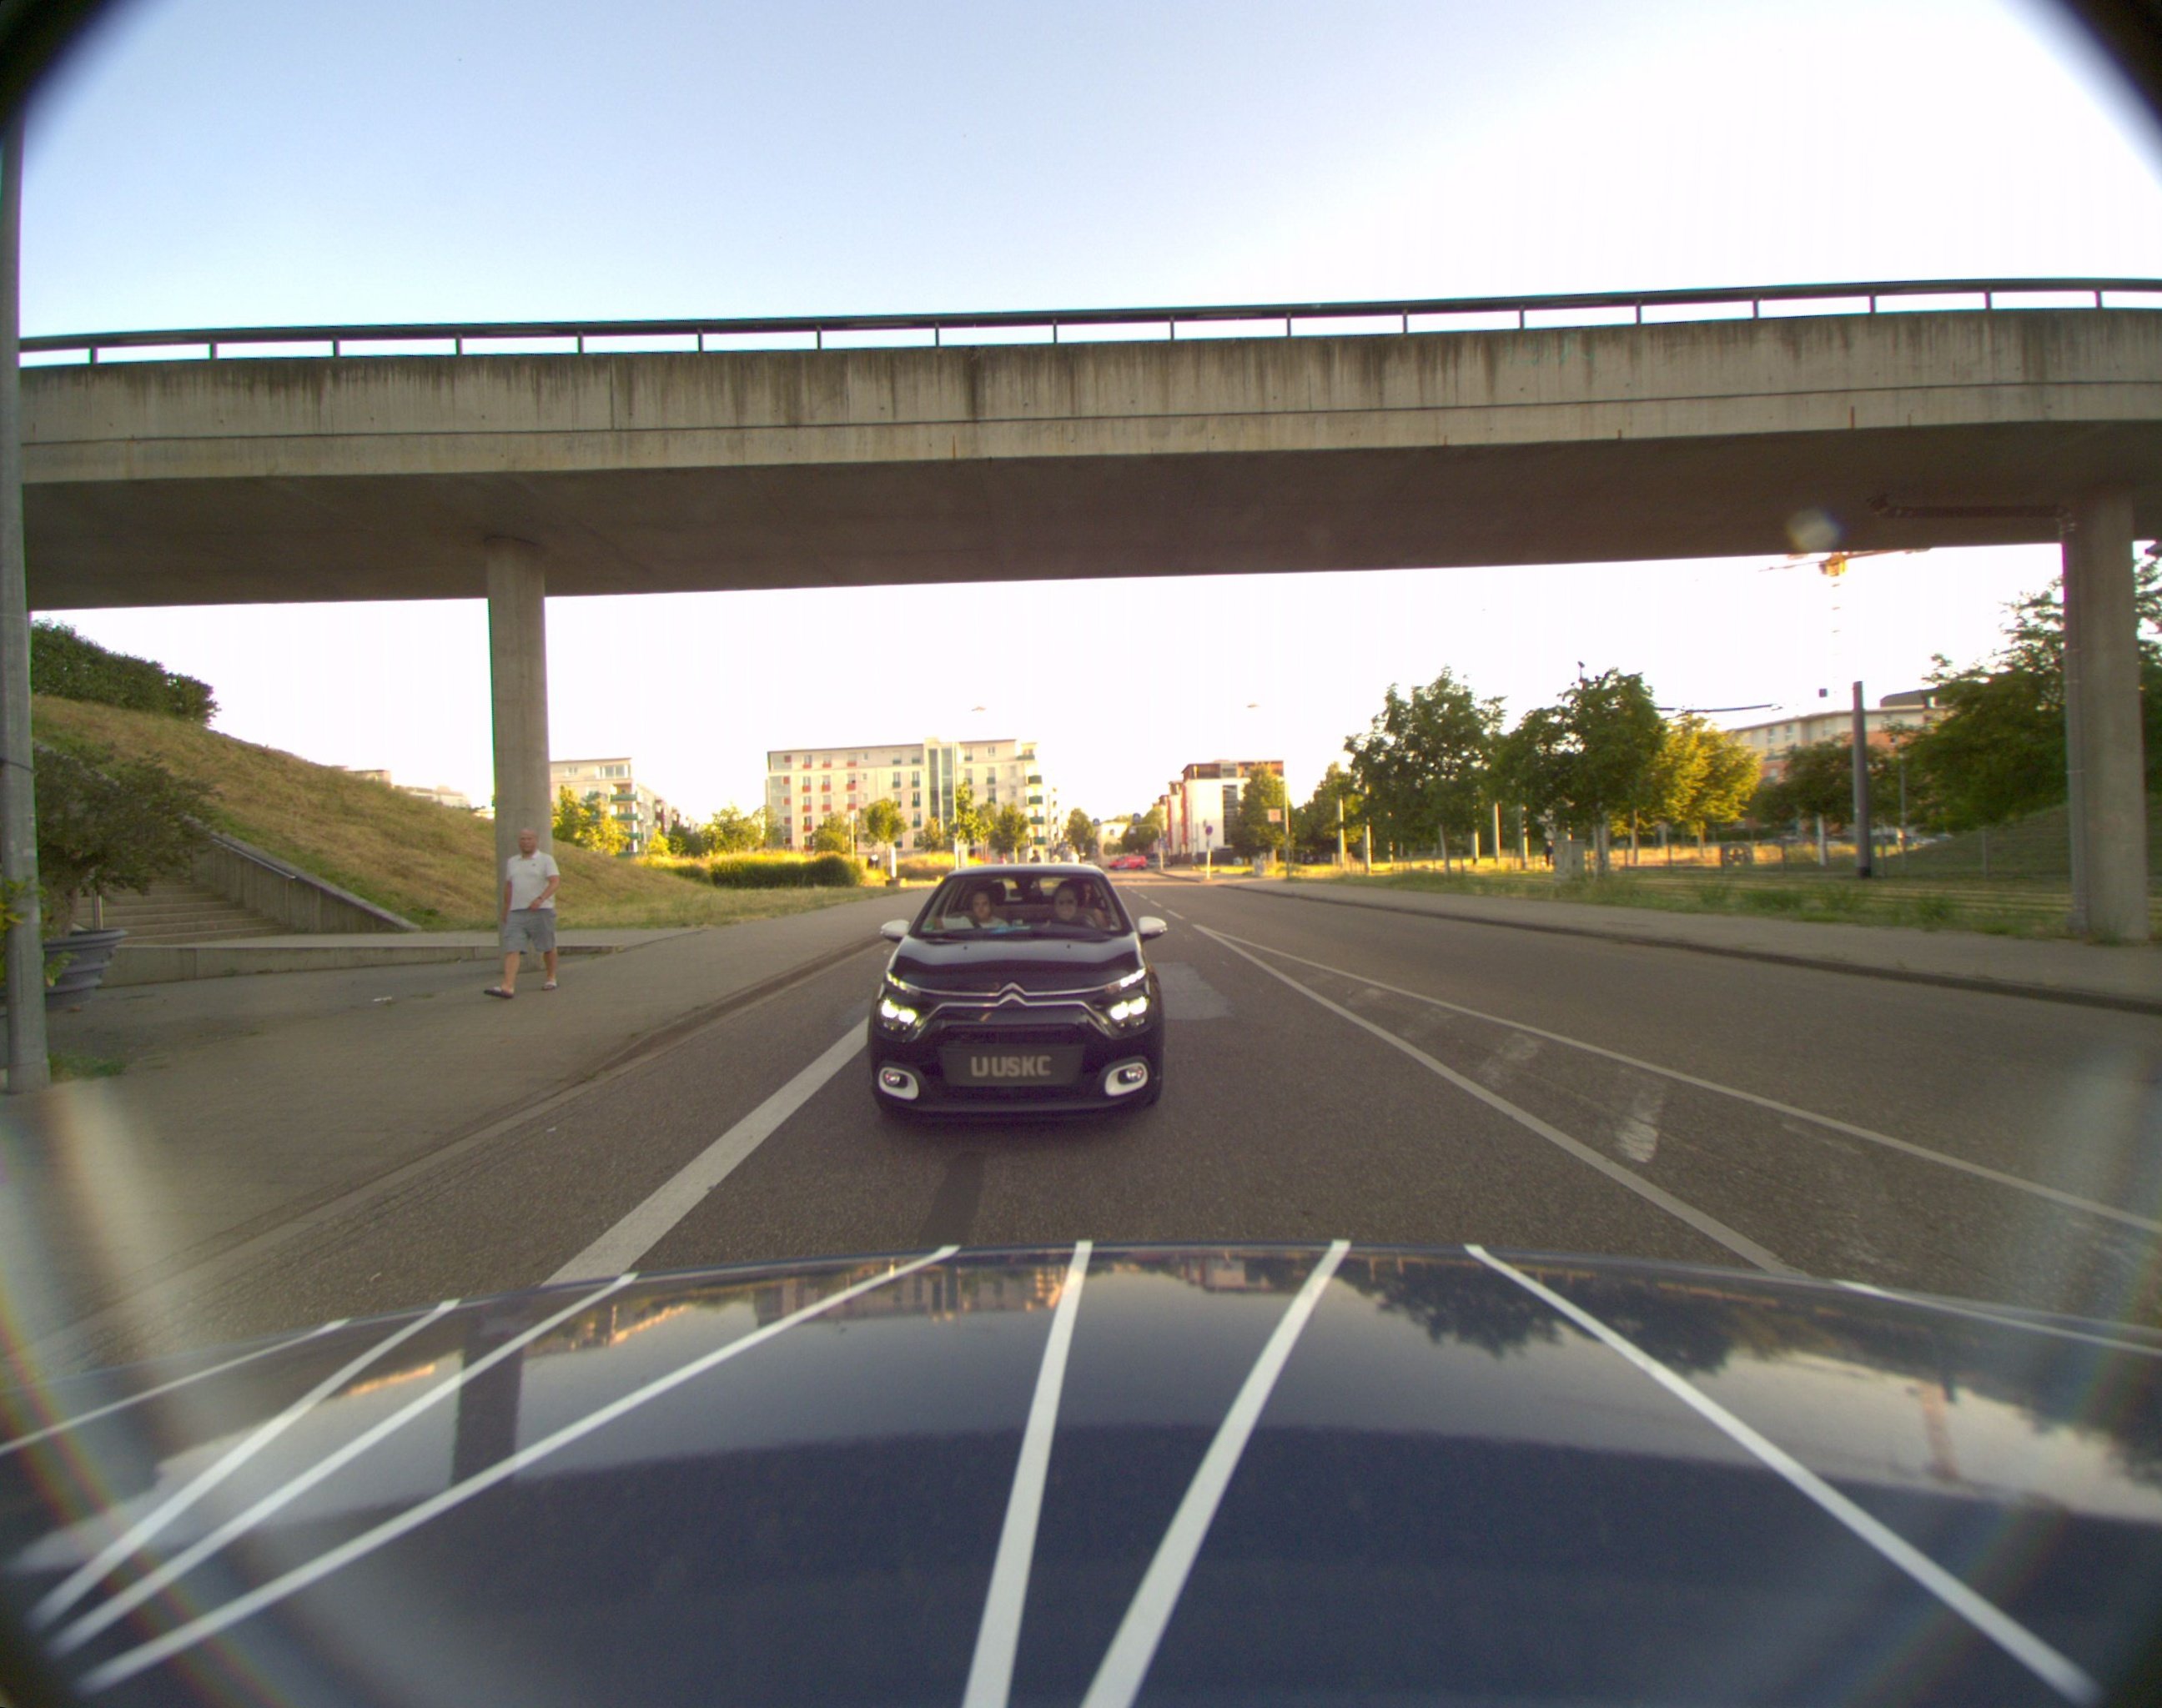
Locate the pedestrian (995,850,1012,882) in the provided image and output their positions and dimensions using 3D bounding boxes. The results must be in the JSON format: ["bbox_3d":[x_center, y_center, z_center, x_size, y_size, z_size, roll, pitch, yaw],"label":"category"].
[{"bbox_3d":[-3.960,0.592,38.957,0.737,1.620,0.859,0,0,2],"label":"pedestrian"}]

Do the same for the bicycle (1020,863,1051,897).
[{"bbox_3d":[-1.723,0.978,29.289,0.662,1.217,2.441,-2,0,8],"label":"bicycle"}]

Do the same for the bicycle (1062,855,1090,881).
[{"bbox_3d":[-0.256,0.838,46.166,0.886,1.483,3.325,-2,0,14],"label":"bicycle"}]

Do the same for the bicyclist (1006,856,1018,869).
[{"bbox_3d":[-8.212,1.034,90.450,0.934,1.585,1.065,-2,0,-27],"label":"bicyclist"}]

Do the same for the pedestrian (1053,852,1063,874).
[{"bbox_3d":[-1.808,0.712,58.919,0.737,1.714,0.532,0,0,1],"label":"pedestrian"}]

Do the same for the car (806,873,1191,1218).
[{"bbox_3d":[-0.349,0.945,5.528,1.739,1.455,4.000,-2,0,1],"label":"car"}]

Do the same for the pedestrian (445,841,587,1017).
[{"bbox_3d":[-5.867,0.739,7.952,0.737,1.714,0.906,-2,0,1],"label":"pedestrian"}]

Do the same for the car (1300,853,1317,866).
[{"bbox_3d":[29.068,0.737,97.146,1.942,1.521,4.004,-2,0,14],"label":"car"}]

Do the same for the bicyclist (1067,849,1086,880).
[{"bbox_3d":[-0.261,0.655,46.438,0.882,1.865,1.035,-2,0,14],"label":"bicyclist"}]

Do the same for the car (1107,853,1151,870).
[{"bbox_3d":[6.309,0.949,99.723,5.517,2.002,2.002,-2,0,13],"label":"car"}]

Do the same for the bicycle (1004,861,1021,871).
[{"bbox_3d":[-8.226,1.476,90.871,0.901,1.142,3.492,-2,0,-24],"label":"bicycle"}]

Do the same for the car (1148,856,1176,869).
[{"bbox_3d":[12.092,1.265,113.941,3.996,1.718,2.000,-2,0,2],"label":"car"}]

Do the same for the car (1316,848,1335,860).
[{"bbox_3d":[31.071,-0.008,96.732,1.942,1.521,4.004,-2,0,14],"label":"car"}]

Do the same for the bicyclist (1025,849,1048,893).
[{"bbox_3d":[-1.722,0.638,29.216,0.697,1.630,0.852,-2,0,6],"label":"bicyclist"}]
